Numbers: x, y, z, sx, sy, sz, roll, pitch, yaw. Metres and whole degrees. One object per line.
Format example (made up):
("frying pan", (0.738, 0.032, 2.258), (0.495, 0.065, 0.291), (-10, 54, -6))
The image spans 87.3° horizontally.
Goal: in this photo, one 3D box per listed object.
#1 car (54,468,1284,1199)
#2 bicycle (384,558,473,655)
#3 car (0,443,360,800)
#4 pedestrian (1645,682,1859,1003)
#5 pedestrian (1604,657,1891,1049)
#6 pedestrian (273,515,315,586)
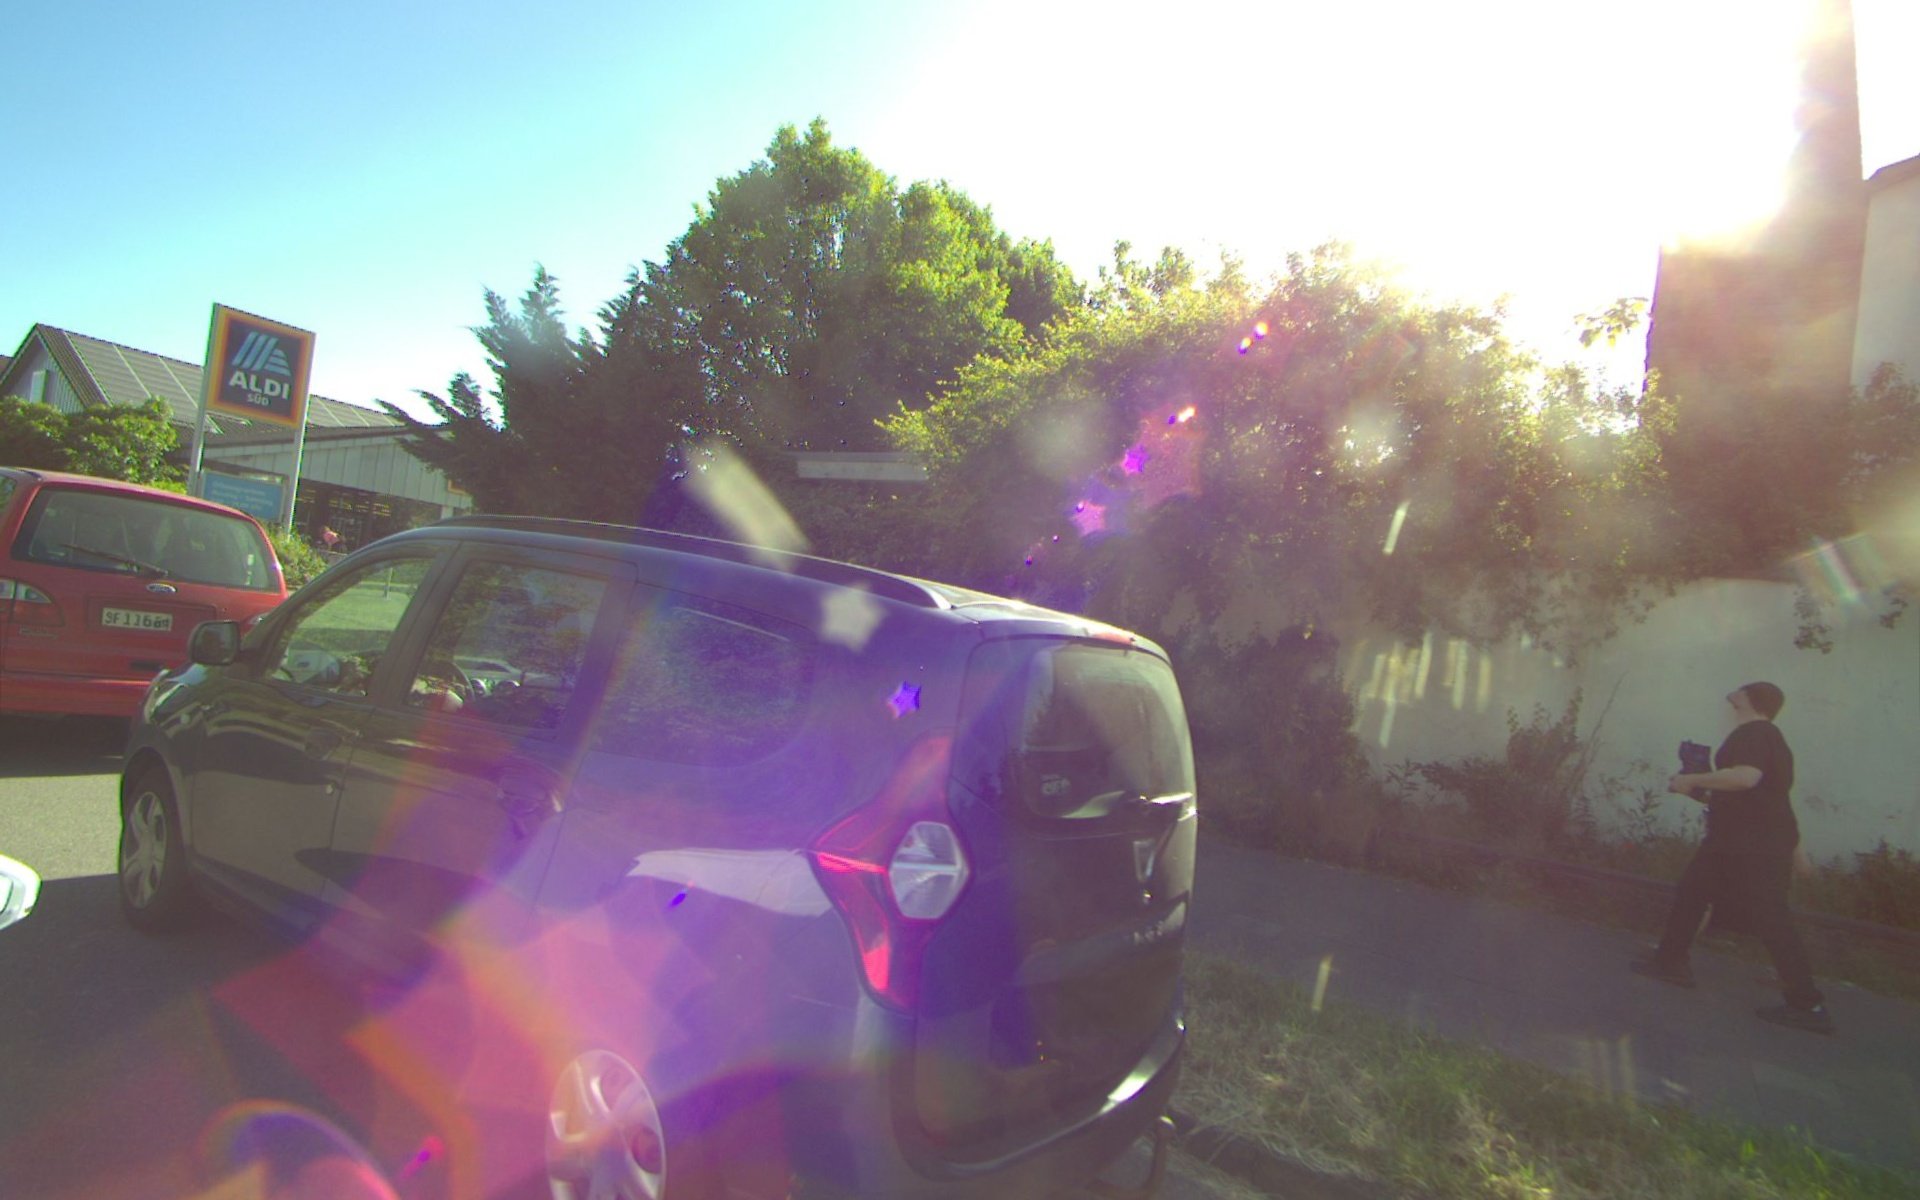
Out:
("car", (-1.348, 0.595, 3.559), (4.284, 1.675, 1.726), (7, -1, 35))
("bicycle", (-7.678, 0.069, 14.496), (0.717, 1.235, 1.876), (6, -1, -38))
("car", (-6.342, -0.015, 7.089), (4.582, 1.826, 1.842), (7, -2, 36))
("pedestrian", (4.526, 1.331, 5.810), (0.779, 1.629, 0.573), (5, 0, 32))
("pedestrian", (4.062, 1.225, 5.298), (0.967, 1.738, 0.804), (5, 0, 32))
("pedestrian", (-16.744, -1.239, 25.296), (0.687, 1.650, 0.770), (8, -1, -34))
